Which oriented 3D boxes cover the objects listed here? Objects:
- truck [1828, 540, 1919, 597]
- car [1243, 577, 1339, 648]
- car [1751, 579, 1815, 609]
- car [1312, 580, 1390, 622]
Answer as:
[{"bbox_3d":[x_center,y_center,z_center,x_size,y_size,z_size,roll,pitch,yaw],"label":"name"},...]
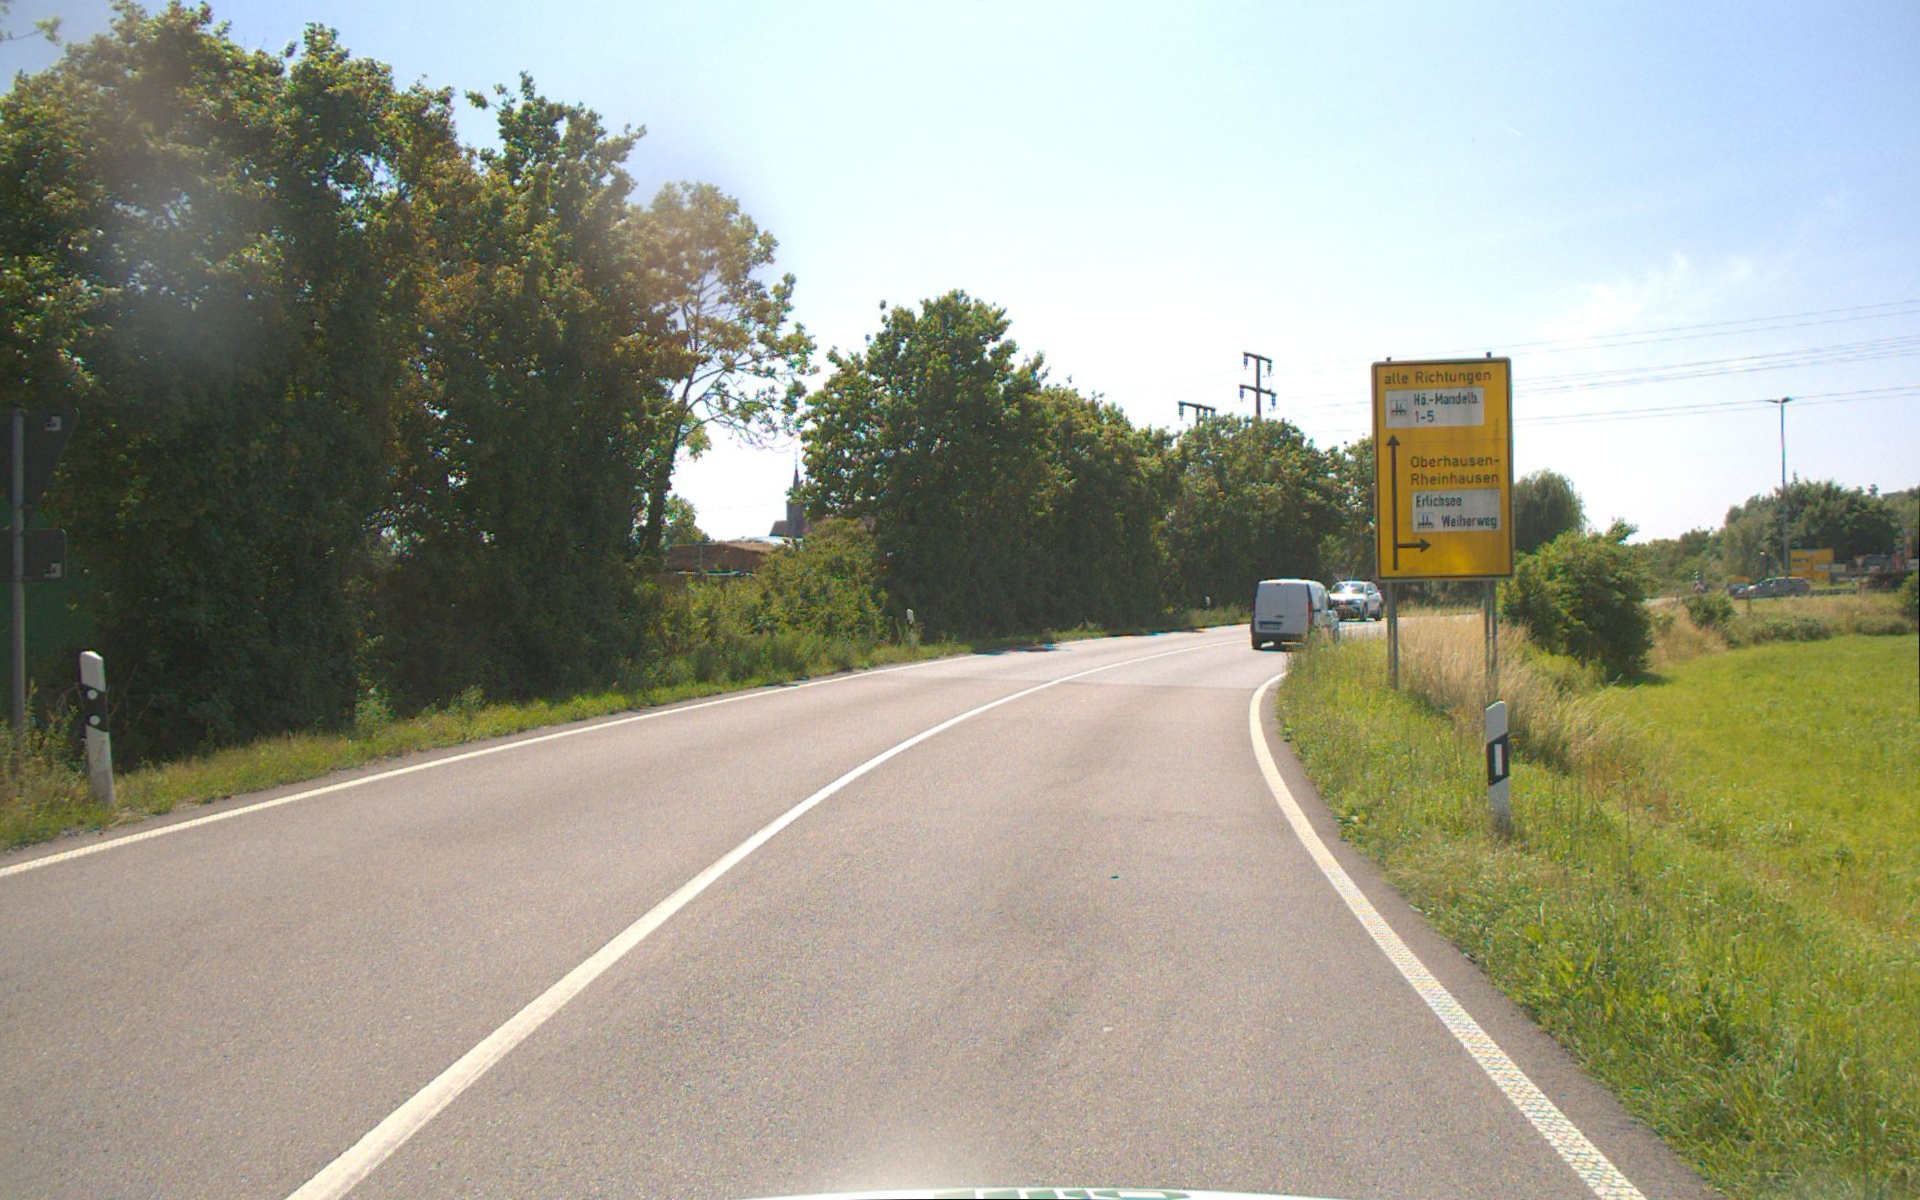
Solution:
[{"bbox_3d":[56.931,-1.847,98.997,8.607,3.192,3.103,1,-1,-7],"label":"truck"},{"bbox_3d":[8.822,0.331,43.859,1.864,1.763,3.823,-1,-1,21],"label":"car"},{"bbox_3d":[57.210,-0.431,114.933,3.911,2.049,1.997,0,-1,29],"label":"car"},{"bbox_3d":[16.342,0.030,68.941,1.821,1.629,4.767,2,1,31],"label":"car"}]
